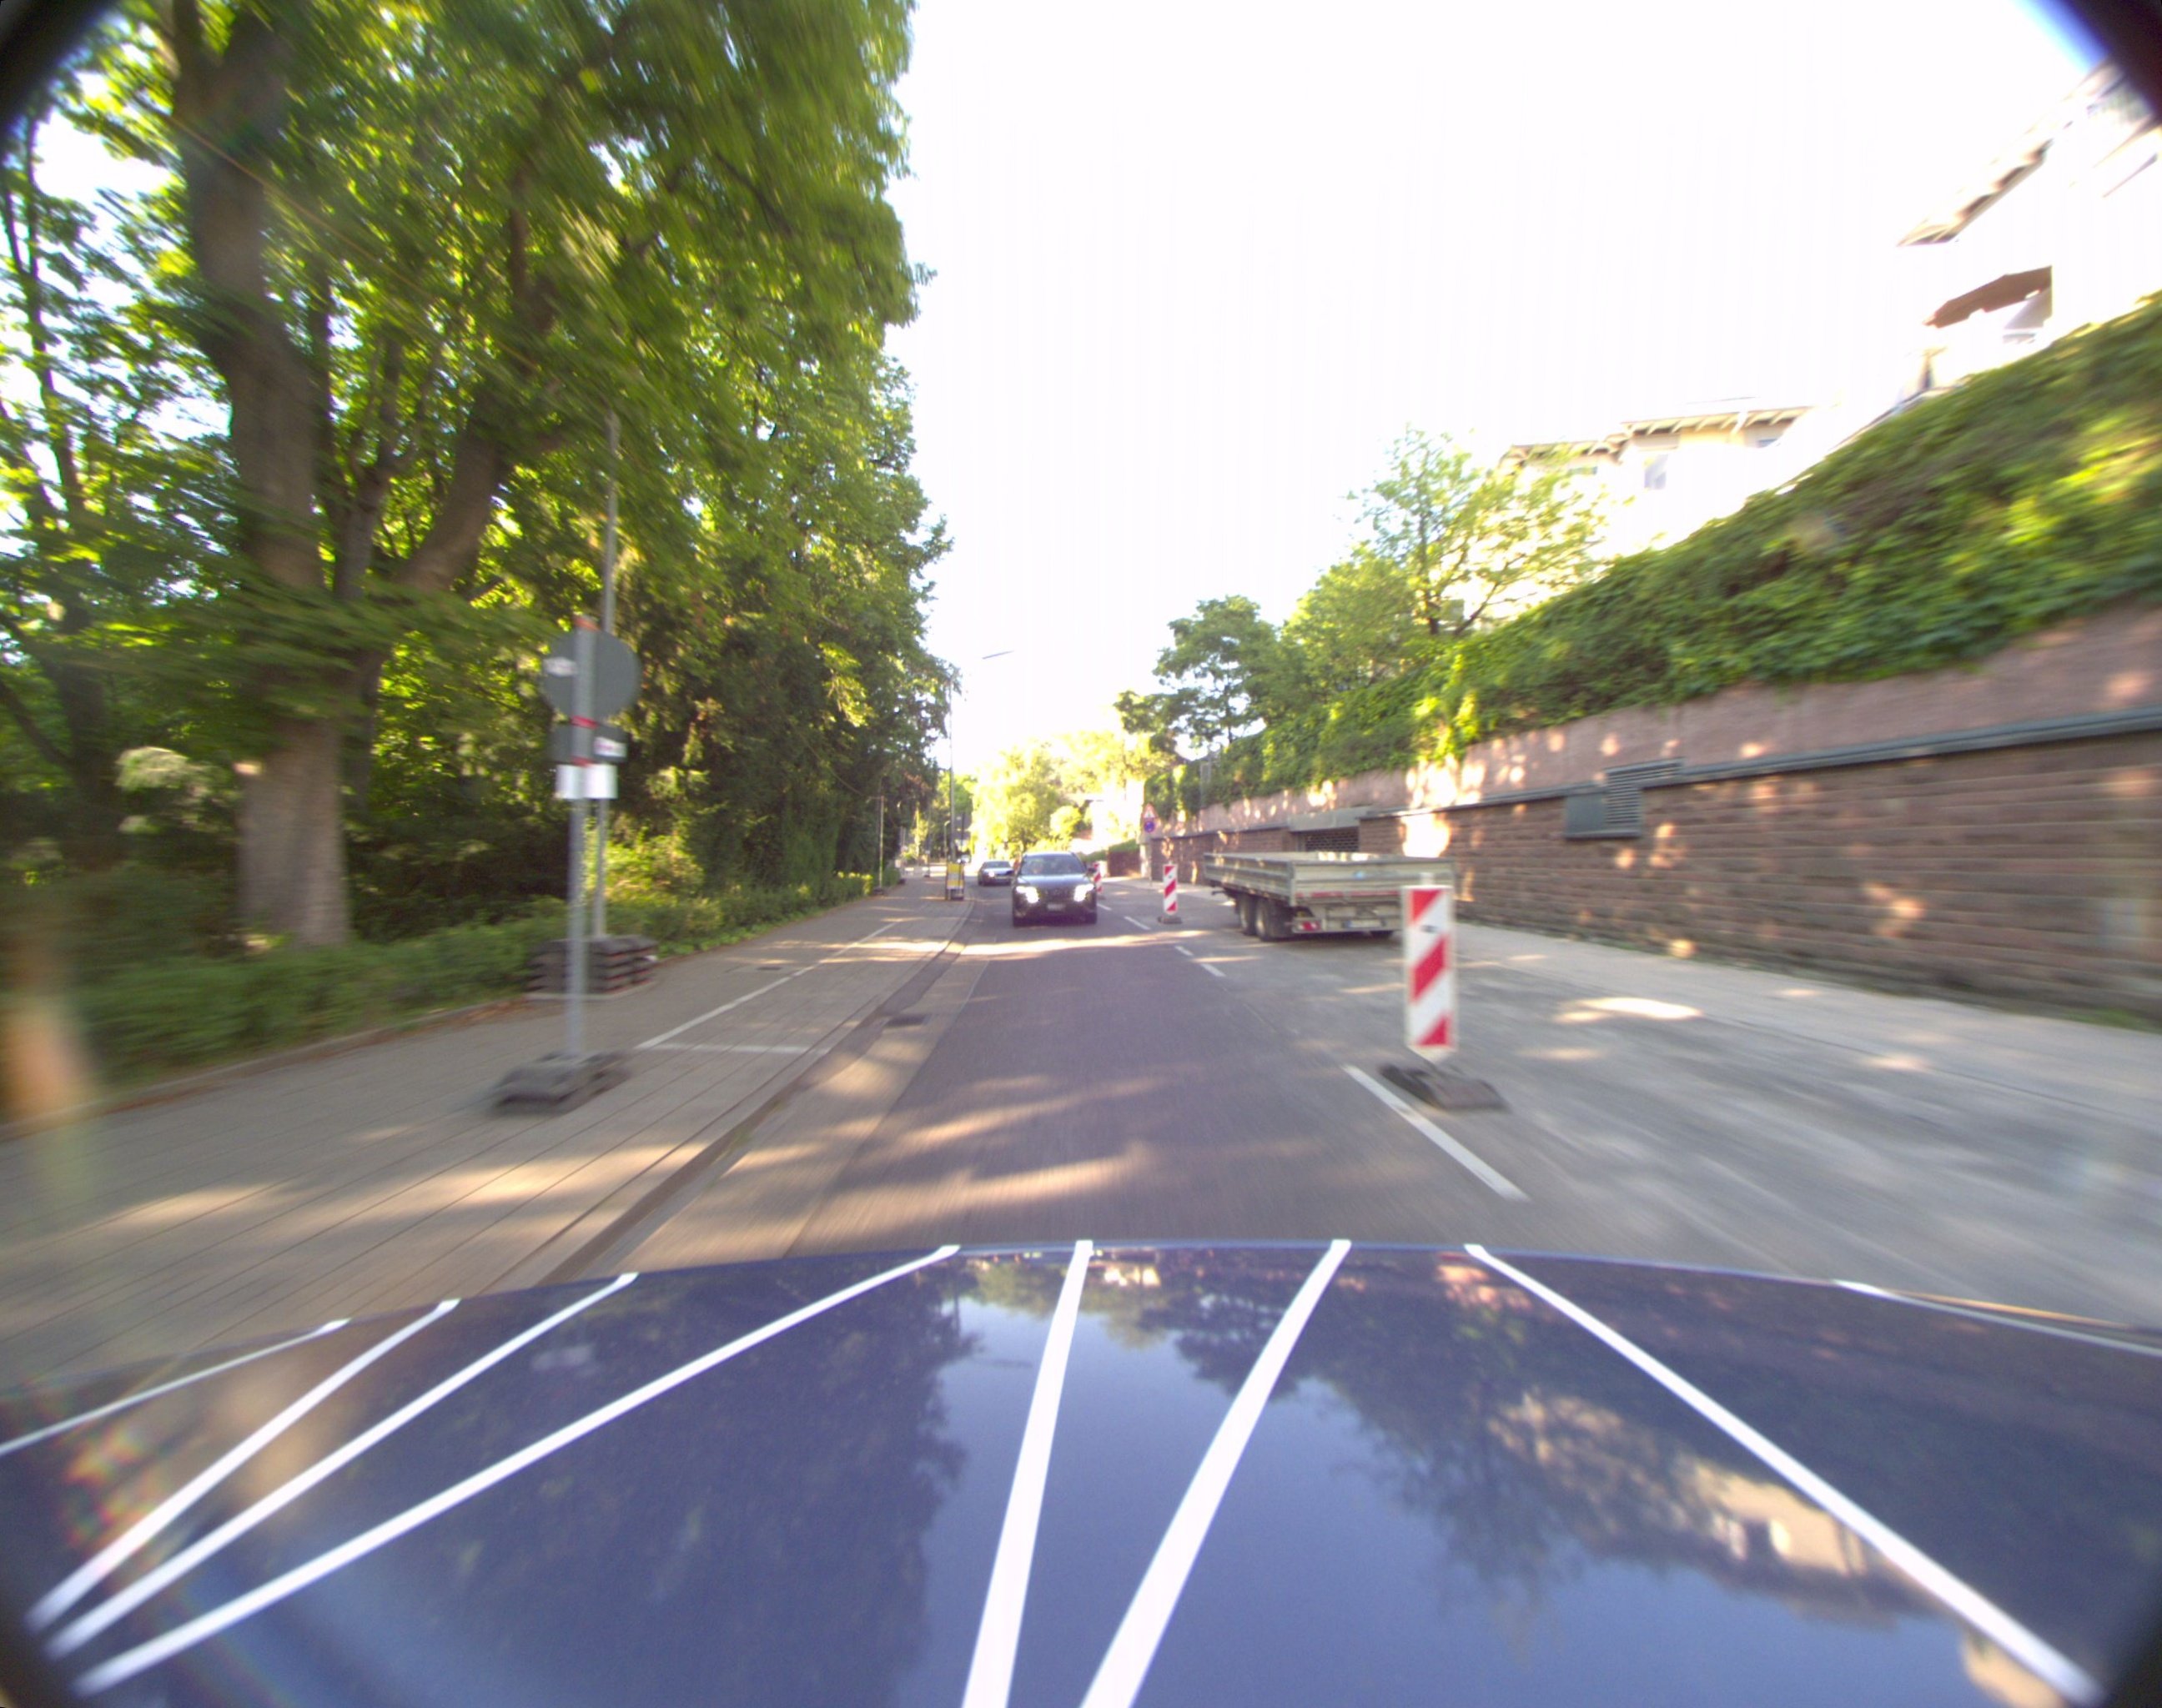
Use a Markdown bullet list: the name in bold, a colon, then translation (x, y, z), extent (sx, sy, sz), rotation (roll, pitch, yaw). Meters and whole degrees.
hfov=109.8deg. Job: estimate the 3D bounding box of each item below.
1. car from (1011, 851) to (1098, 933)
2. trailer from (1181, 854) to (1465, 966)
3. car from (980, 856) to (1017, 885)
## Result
- **car**: translation (-0.721, 0.782, 18.228), extent (1.789, 1.639, 4.472), rotation (-2, 1, -4)
- **trailer**: translation (3.990, 0.799, 14.520), extent (2.647, 1.481, 7.114), rotation (-2, 1, -5)
- **car**: translation (-4.641, 0.866, 42.514), extent (1.664, 1.468, 3.678), rotation (-2, 1, -12)
